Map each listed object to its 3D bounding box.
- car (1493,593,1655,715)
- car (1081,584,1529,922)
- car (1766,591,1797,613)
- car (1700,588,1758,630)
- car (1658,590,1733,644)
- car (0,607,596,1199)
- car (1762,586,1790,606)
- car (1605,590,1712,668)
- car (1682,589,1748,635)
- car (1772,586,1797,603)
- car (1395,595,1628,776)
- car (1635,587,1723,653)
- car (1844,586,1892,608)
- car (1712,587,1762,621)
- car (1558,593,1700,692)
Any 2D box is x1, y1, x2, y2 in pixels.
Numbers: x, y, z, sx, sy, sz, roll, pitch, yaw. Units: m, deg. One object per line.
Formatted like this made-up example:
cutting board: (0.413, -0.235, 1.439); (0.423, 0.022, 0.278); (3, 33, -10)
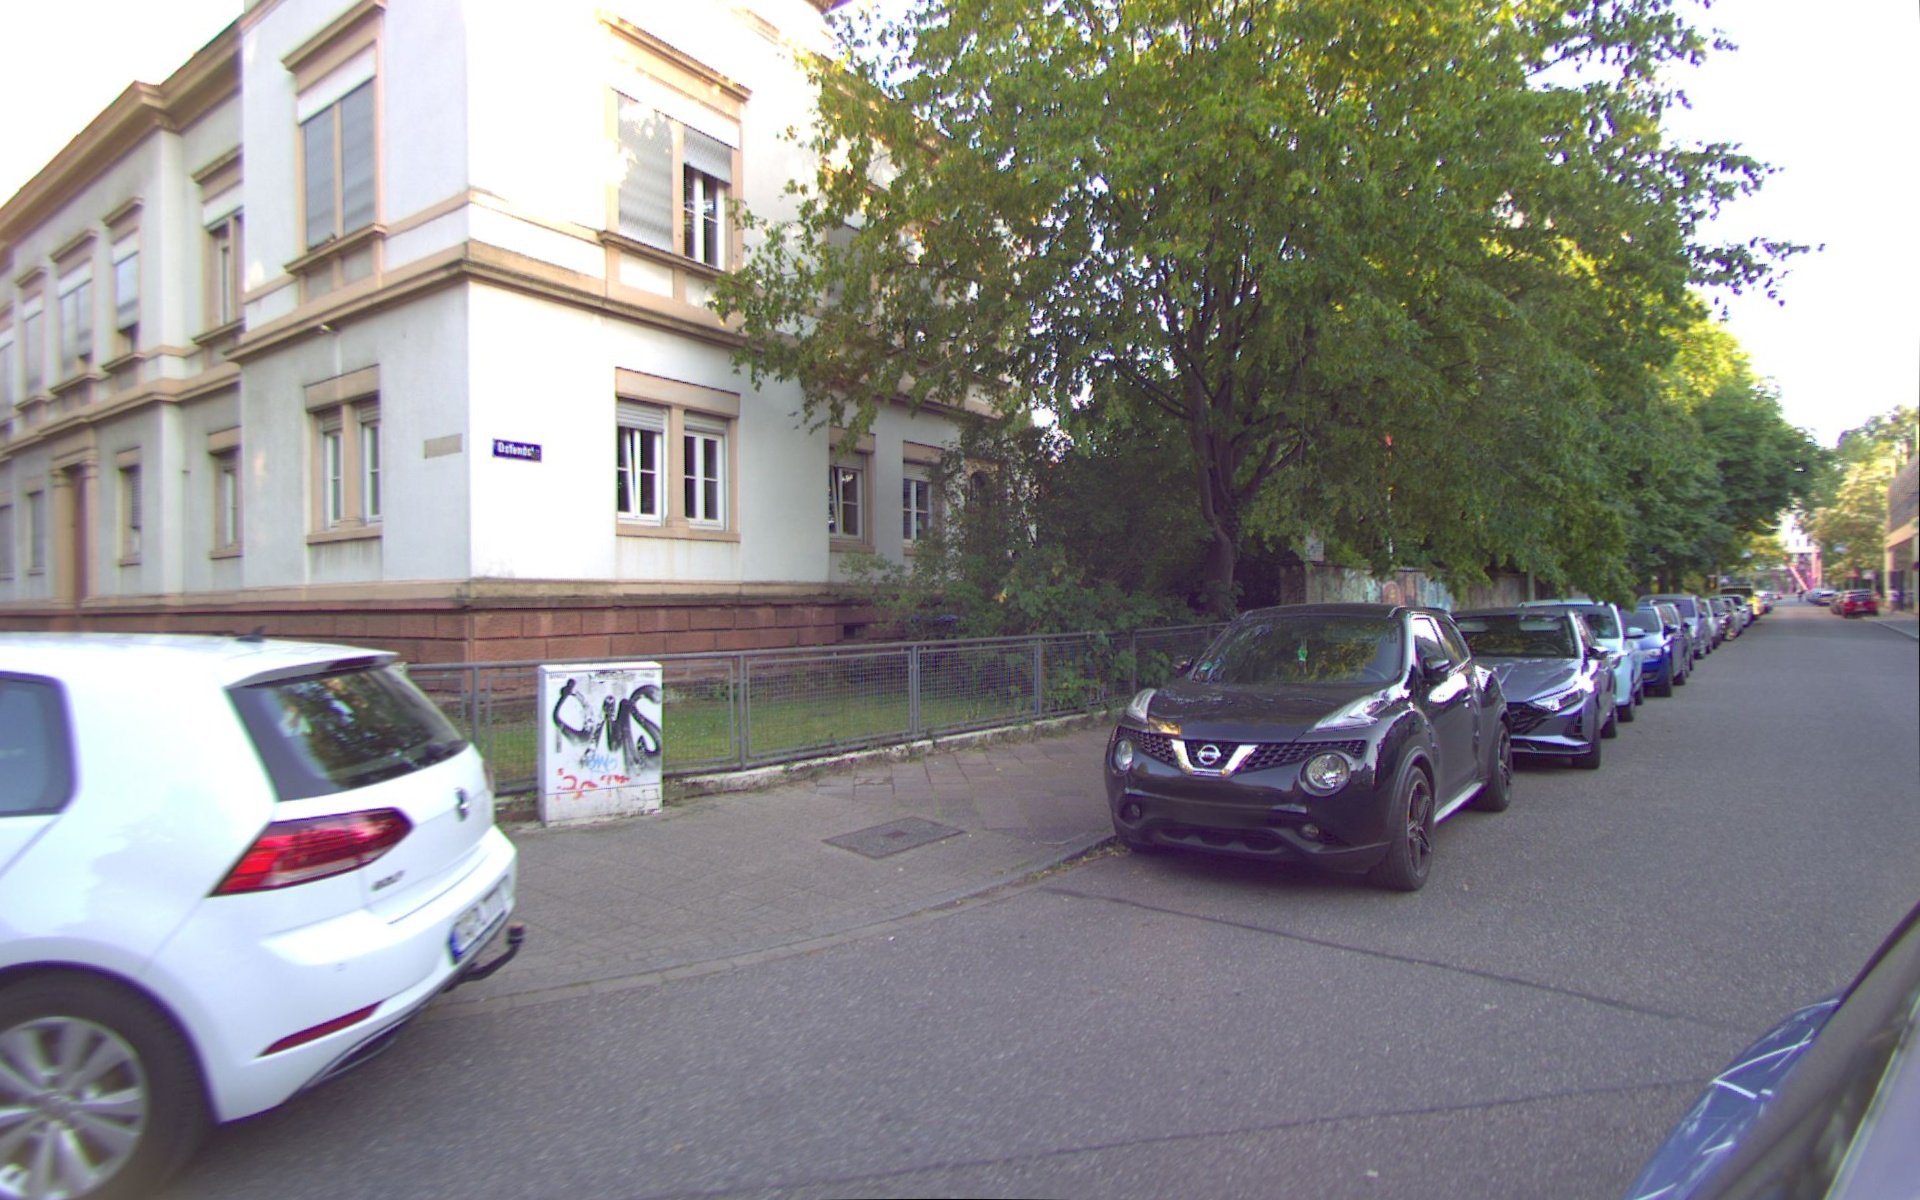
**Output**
car: (8.615, 0.637, 14.065); (1.623, 1.453, 3.638); (0, 0, 36)
car: (2.529, 0.703, 6.761); (1.624, 1.565, 3.889); (-2, 0, 38)
car: (55.993, 0.122, 68.978); (1.625, 1.472, 3.713); (0, 1, 39)
car: (29.066, 0.310, 38.211); (1.625, 1.472, 3.713); (0, 1, 39)
car: (22.057, 0.451, 30.306); (1.625, 1.472, 3.713); (0, 1, 39)
car: (-3.431, 0.795, 3.108); (4.087, 1.520, 1.815); (0, -1, -8)
car: (61.913, -0.303, 76.778); (1.625, 1.472, 3.713); (0, 1, 39)
car: (14.808, 0.524, 21.367); (1.624, 1.452, 4.072); (0, 1, 38)
car: (25.840, 0.374, 34.601); (1.625, 1.472, 3.712); (0, 1, 40)
car: (71.789, -0.506, 88.145); (1.625, 1.472, 3.713); (0, 1, 39)
car: (5.767, 0.694, 10.370); (1.623, 1.452, 3.735); (0, 1, 36)
car: (18.832, 0.451, 26.434); (1.625, 1.587, 4.071); (0, 1, 39)
car: (55.759, -0.219, 62.179); (1.866, 1.303, 3.356); (0, 1, 37)
car: (35.461, 0.149, 46.169); (1.626, 1.472, 3.710); (0, 1, 41)
car: (11.473, 0.620, 17.240); (1.625, 1.452, 4.071); (0, 1, 39)
